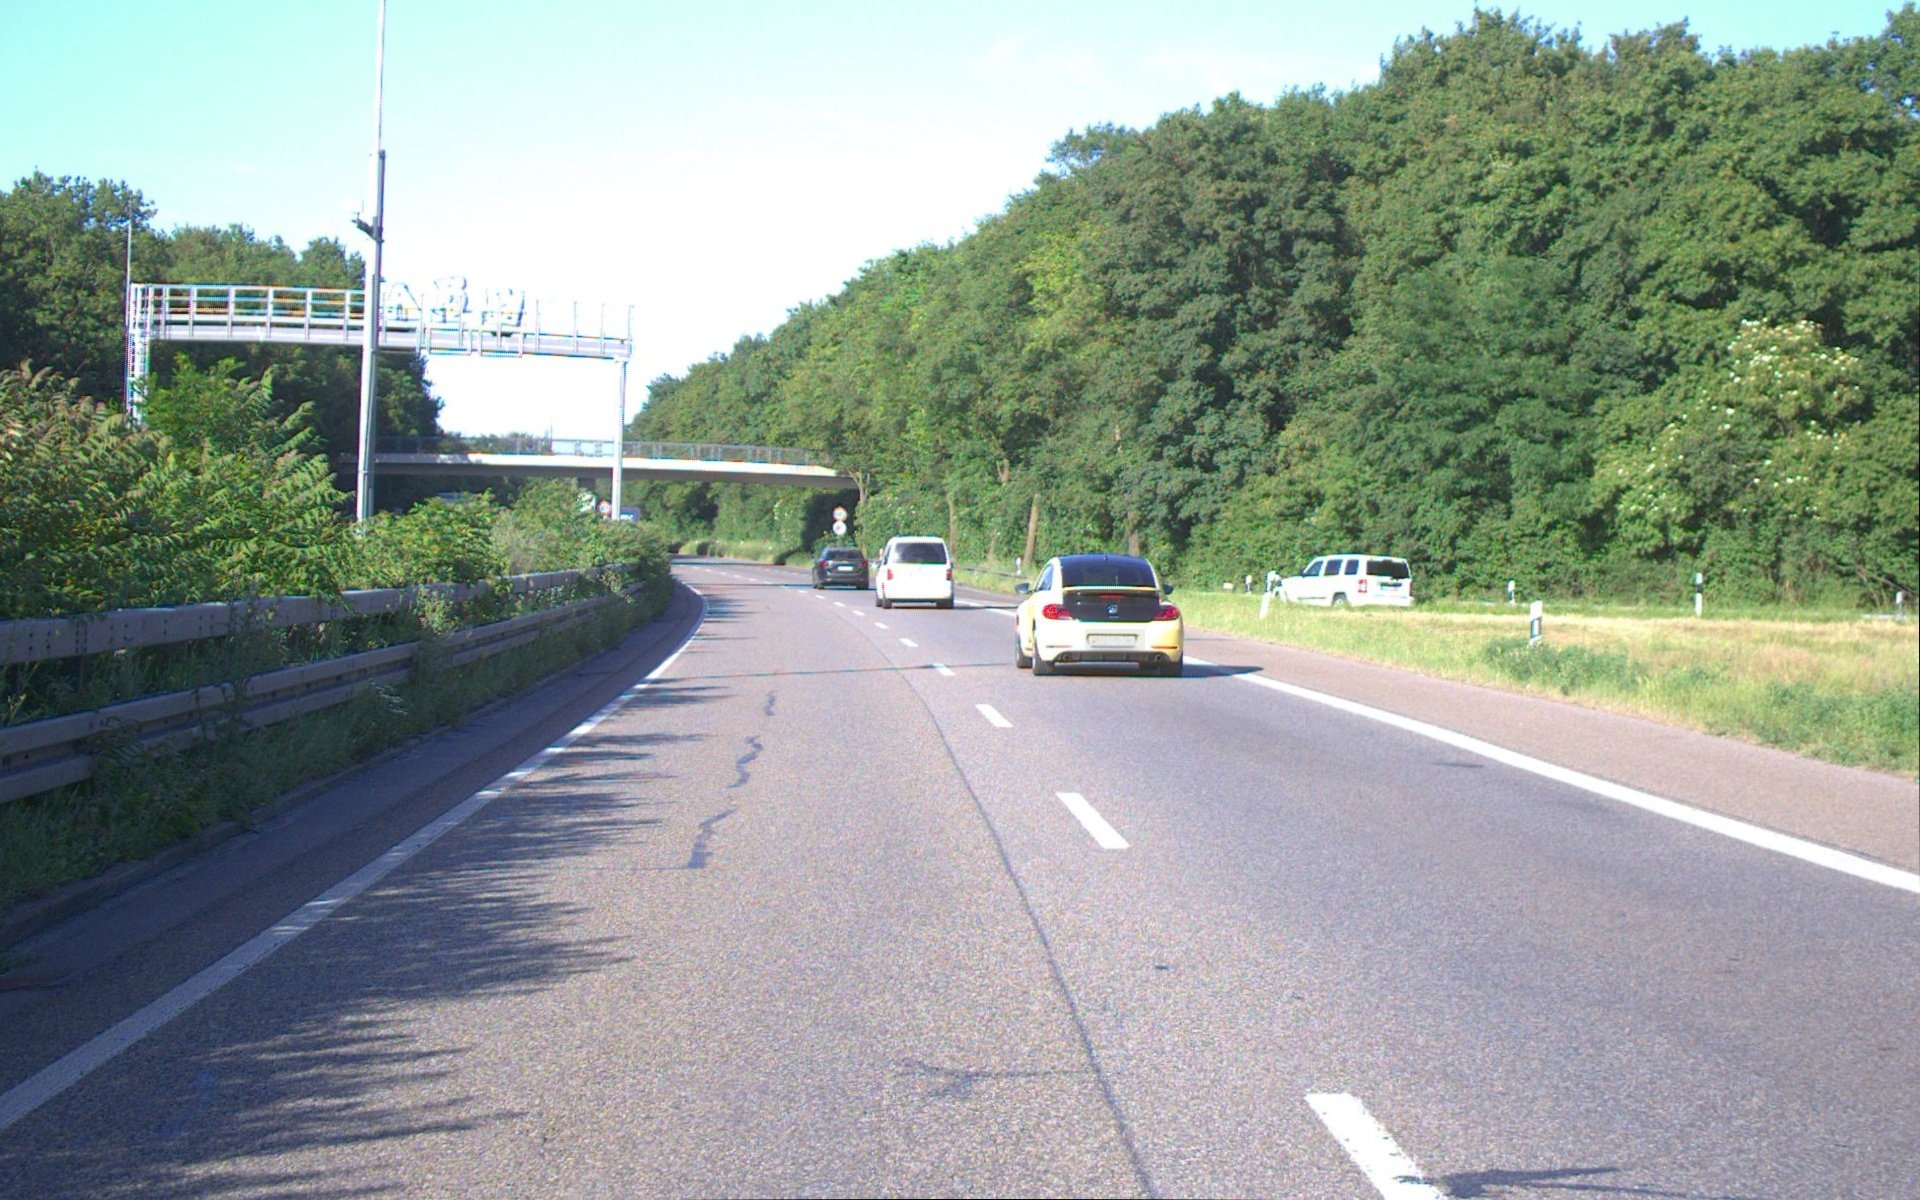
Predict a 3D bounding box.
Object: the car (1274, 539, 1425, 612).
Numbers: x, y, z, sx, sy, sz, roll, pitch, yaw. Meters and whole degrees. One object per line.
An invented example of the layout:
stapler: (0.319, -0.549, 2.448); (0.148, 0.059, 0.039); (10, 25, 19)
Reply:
car: (10.026, -0.655, 88.793); (1.897, 1.817, 4.000); (0, 1, -29)

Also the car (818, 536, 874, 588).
car: (-3.997, -1.349, 120.501); (1.897, 1.761, 4.000); (0, 1, -2)

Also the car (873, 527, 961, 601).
car: (-1.096, -0.878, 85.901); (1.897, 1.761, 4.000); (2, 0, -4)

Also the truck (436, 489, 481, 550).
truck: (-34.360, -5.513, 235.749); (2.737, 4.013, 6.181); (2, 1, -7)

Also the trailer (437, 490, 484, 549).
trailer: (-35.187, -5.648, 242.519); (2.737, 4.013, 14.078); (2, 1, -7)

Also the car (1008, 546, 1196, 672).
car: (1.697, 0.076, 42.316); (1.897, 1.466, 4.001); (0, 1, -4)
